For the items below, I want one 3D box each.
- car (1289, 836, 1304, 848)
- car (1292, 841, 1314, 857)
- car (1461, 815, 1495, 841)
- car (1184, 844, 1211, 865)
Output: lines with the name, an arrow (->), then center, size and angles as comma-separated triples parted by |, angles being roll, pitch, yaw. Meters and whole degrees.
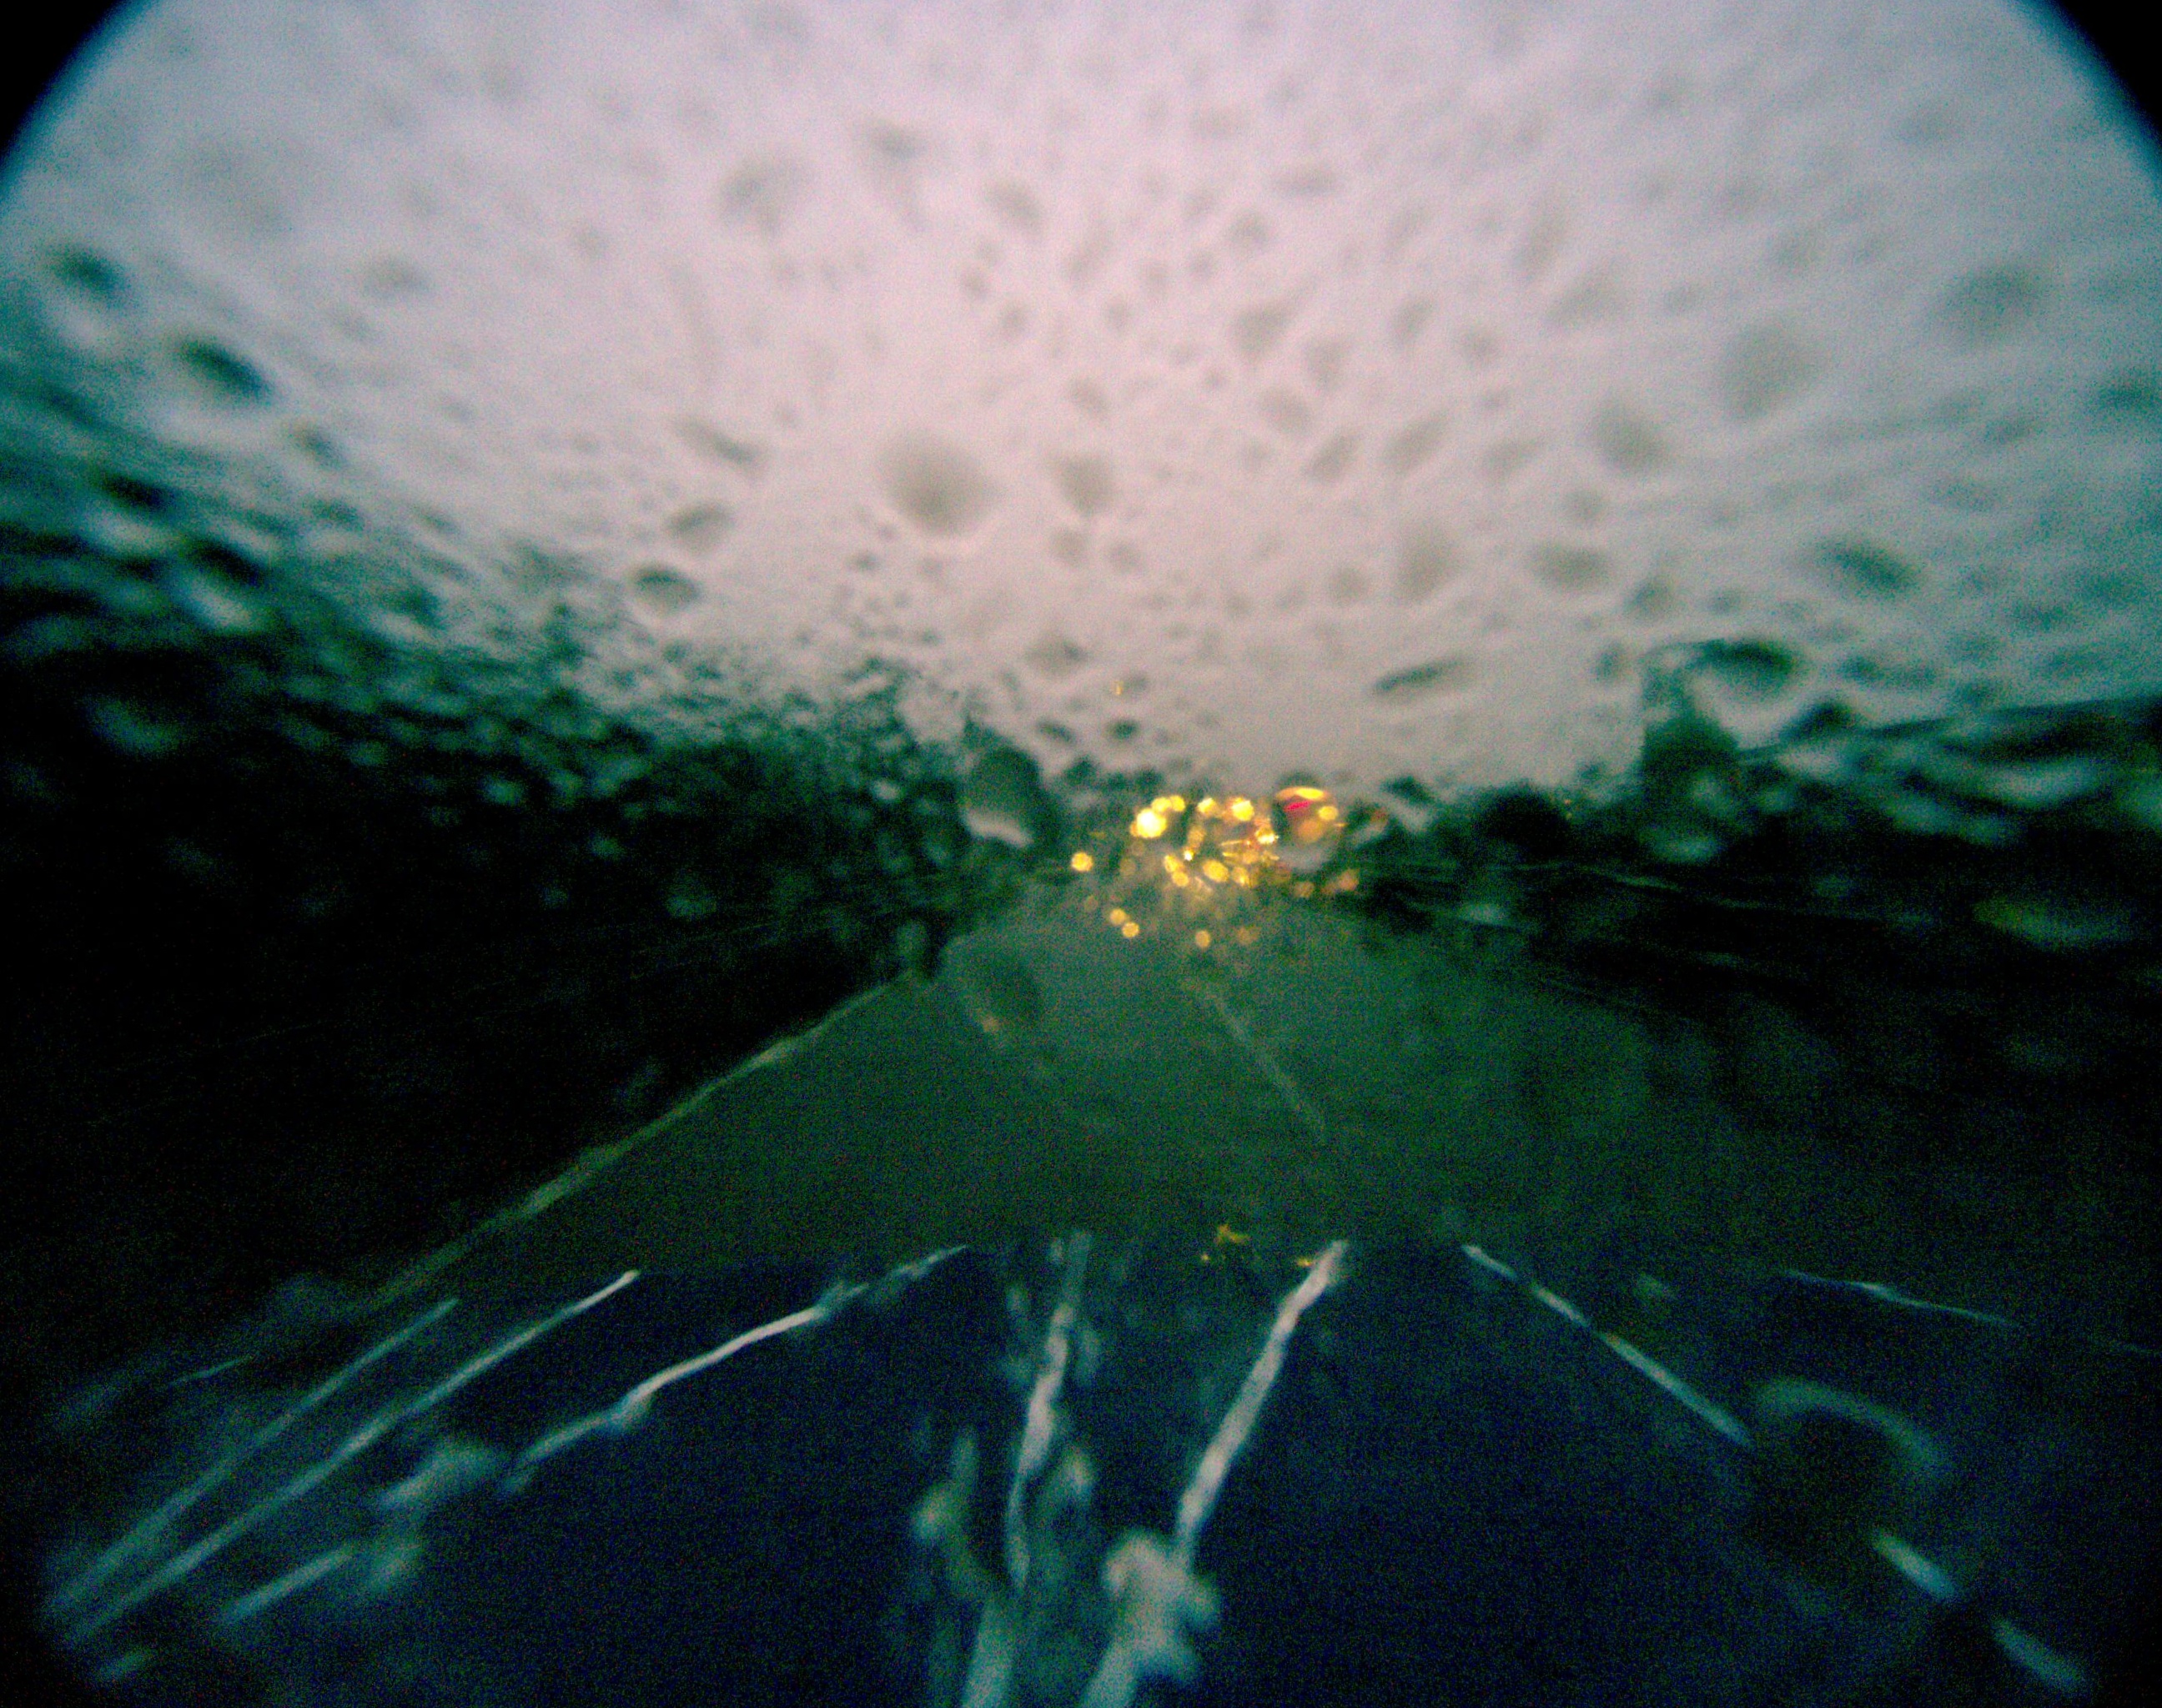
car -> 31.798, -1.759, 112.247 | 1.996, 1.663, 4.432 | -1, 1, 14
car -> 21.813, -0.523, 74.840 | 1.674, 1.412, 4.084 | -1, 1, 11
car -> 52.482, -3.430, 100.633 | 3.195, 3.192, 9.952 | 0, 2, 23
car -> 12.448, 0.049, 81.280 | 1.996, 2.002, 4.004 | -5, 1, 20
